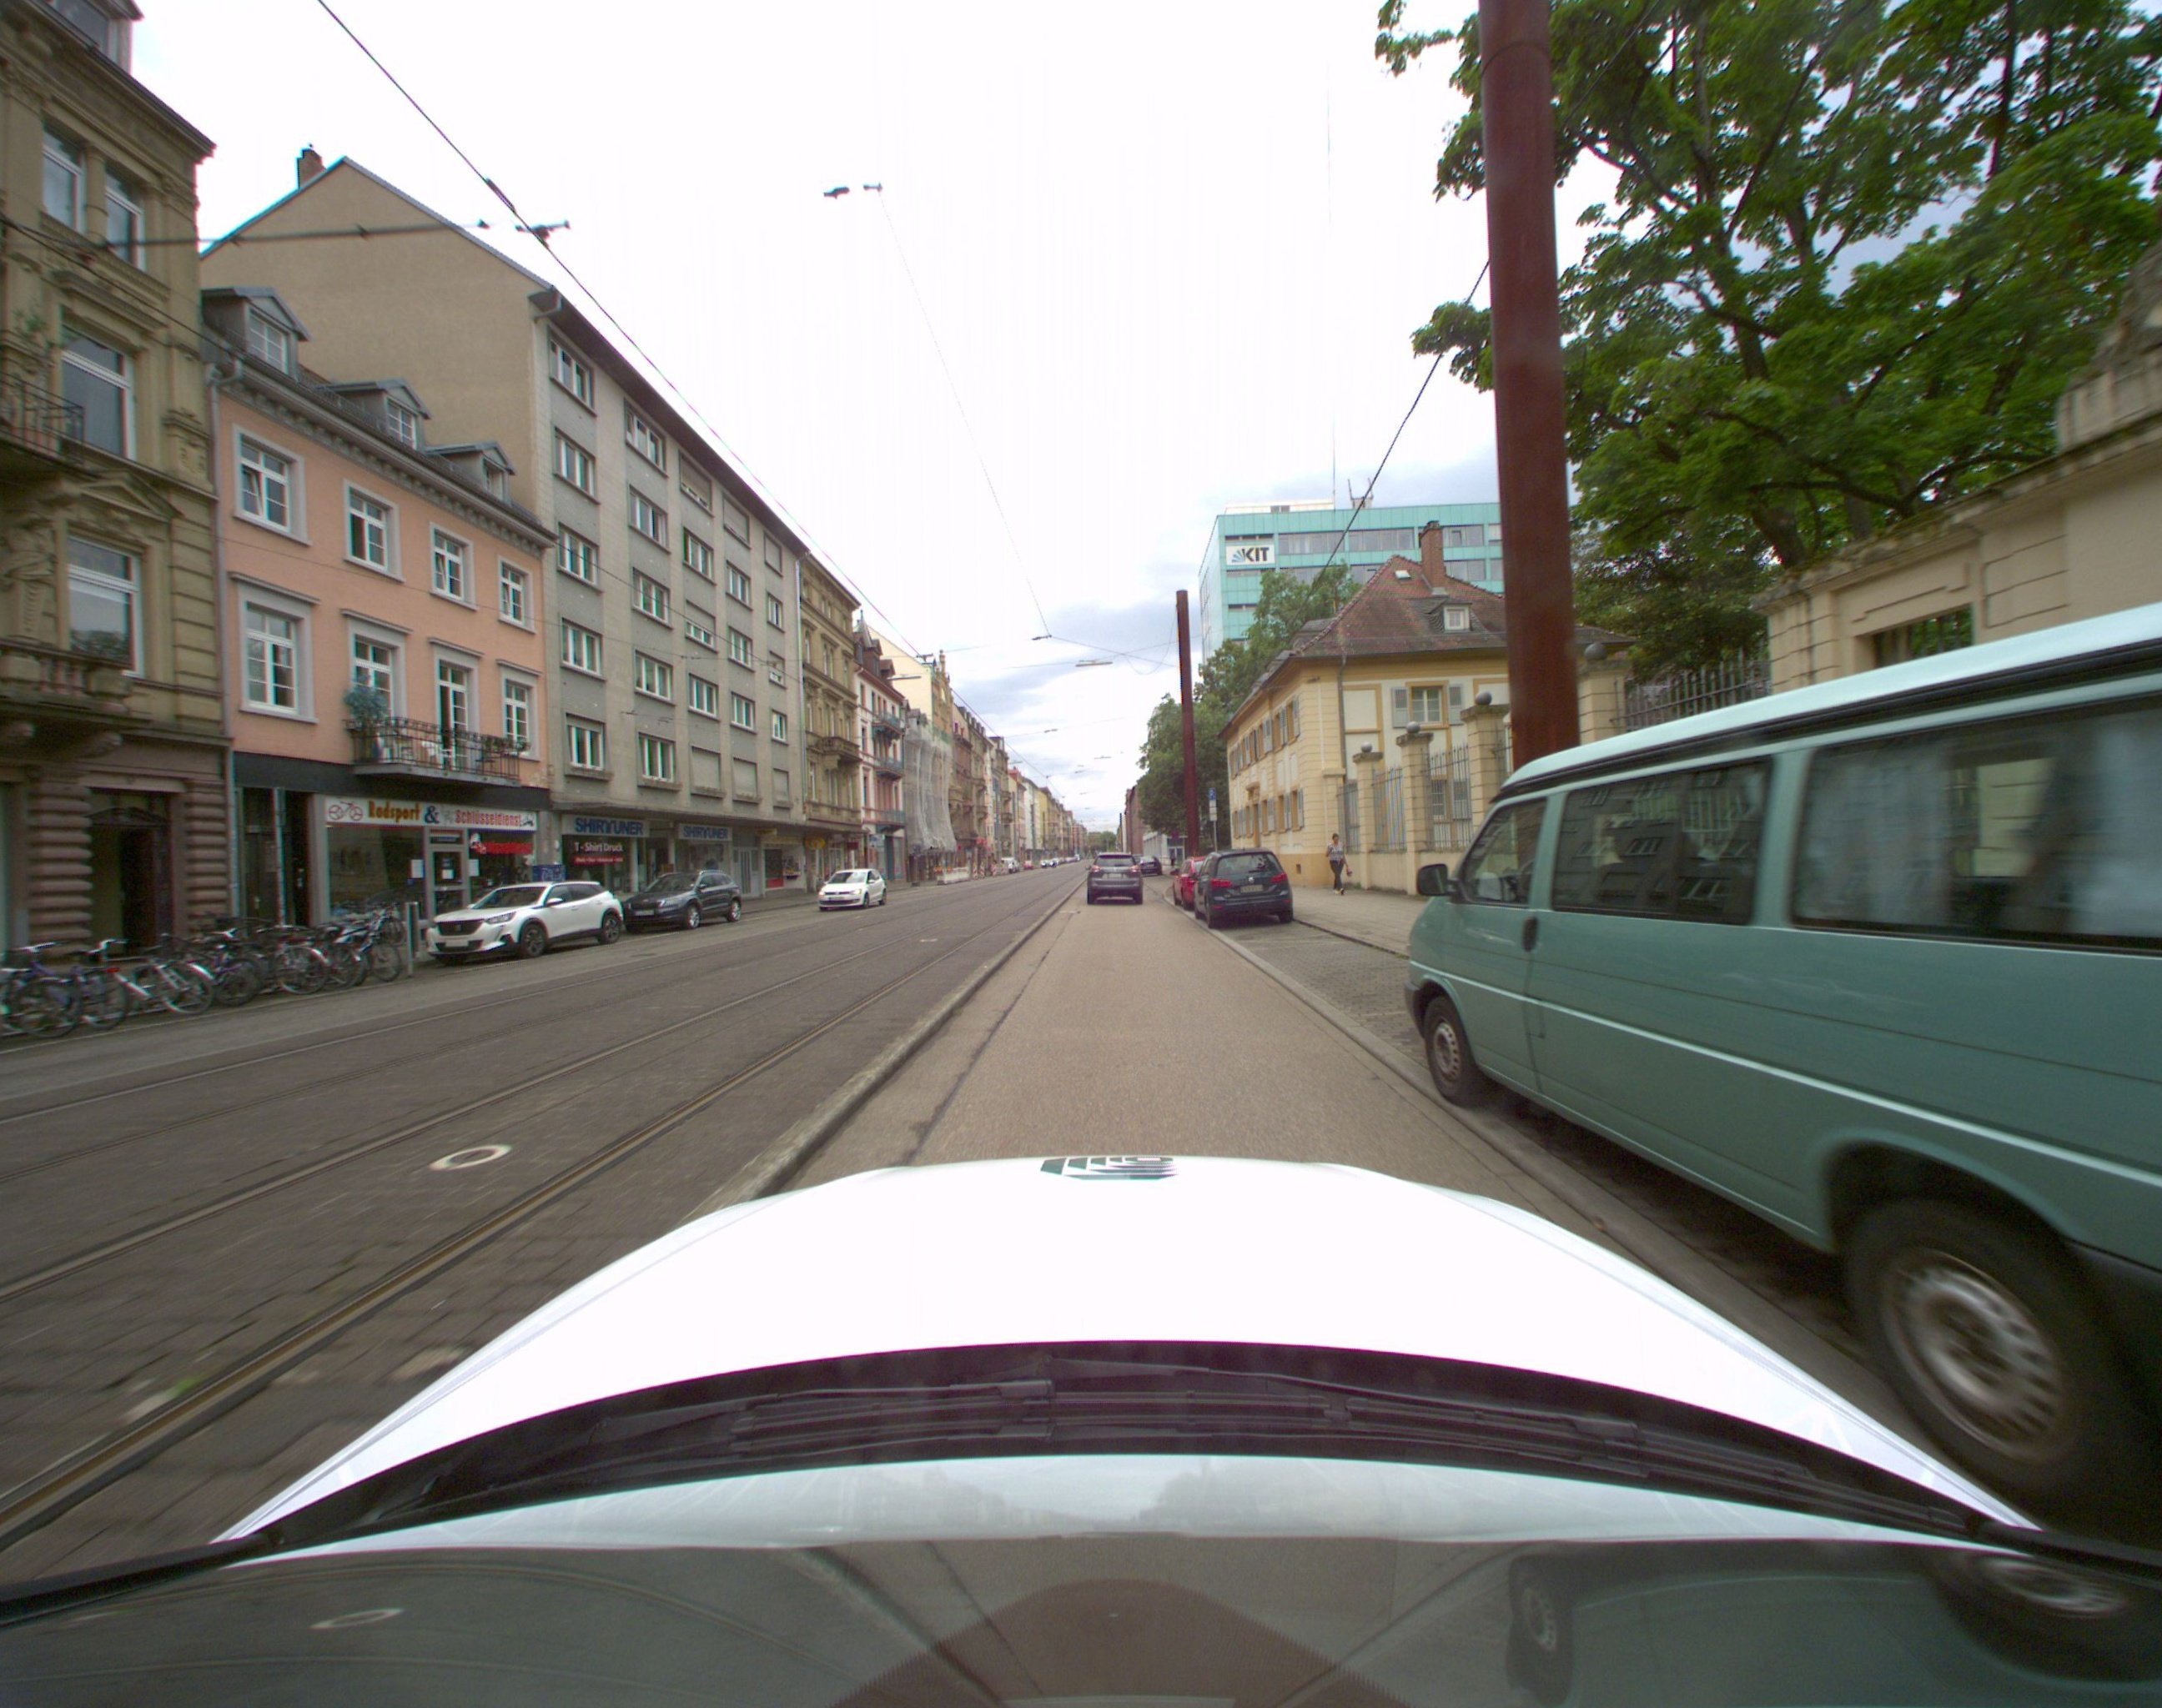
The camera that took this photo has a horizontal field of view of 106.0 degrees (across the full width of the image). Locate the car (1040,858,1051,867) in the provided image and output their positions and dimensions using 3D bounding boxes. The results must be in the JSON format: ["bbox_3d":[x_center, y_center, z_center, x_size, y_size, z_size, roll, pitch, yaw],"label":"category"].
[{"bbox_3d":[-6.725,1.665,153.706,1.988,1.635,3.997,-2,-1,-1],"label":"car"}]

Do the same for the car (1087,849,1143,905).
[{"bbox_3d":[1.119,0.727,27.516,1.743,1.756,3.925,0,0,2],"label":"car"}]

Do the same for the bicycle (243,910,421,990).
[{"bbox_3d":[-12.162,1.539,13.264,2.228,1.126,0.503,-2,0,-6],"label":"bicycle"}]

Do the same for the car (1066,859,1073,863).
[{"bbox_3d":[-3.579,2.140,249.944,1.986,1.266,4.001,-2,-1,2],"label":"car"}]

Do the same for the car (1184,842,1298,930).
[{"bbox_3d":[3.391,0.636,17.984,1.743,1.596,3.925,-5,0,2],"label":"car"}]

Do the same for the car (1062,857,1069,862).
[{"bbox_3d":[-4.207,1.616,221.973,1.988,1.266,3.997,-2,-1,-1],"label":"car"}]

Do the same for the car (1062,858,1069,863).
[{"bbox_3d":[-4.322,1.698,226.357,1.988,1.266,3.997,-2,-1,-1],"label":"car"}]

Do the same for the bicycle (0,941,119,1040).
[{"bbox_3d":[-12.169,1.554,9.144,1.963,1.001,0.462,-2,0,-6],"label":"bicycle"}]

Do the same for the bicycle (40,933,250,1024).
[{"bbox_3d":[-12.085,1.594,10.550,1.963,1.001,0.462,-2,0,-6],"label":"bicycle"}]

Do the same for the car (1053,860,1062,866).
[{"bbox_3d":[-5.265,1.947,182.796,1.988,1.266,3.997,-2,-1,-1],"label":"car"}]

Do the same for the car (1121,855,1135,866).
[{"bbox_3d":[6.789,0.901,117.632,1.769,1.420,4.136,-2,0,2],"label":"car"}]

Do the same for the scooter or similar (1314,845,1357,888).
[{"bbox_3d":[7.815,0.382,25.070,0.744,1.250,1.920,-2,-1,2],"label":"scooter or similar"}]

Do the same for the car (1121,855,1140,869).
[{"bbox_3d":[5.183,0.810,85.144,1.769,1.420,4.136,-2,0,2],"label":"car"}]

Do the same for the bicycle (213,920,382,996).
[{"bbox_3d":[-12.028,1.584,12.540,1.963,1.001,0.462,-2,0,-6],"label":"bicycle"}]

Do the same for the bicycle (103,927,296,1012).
[{"bbox_3d":[-12.196,1.587,11.304,1.963,1.001,0.462,-2,0,-6],"label":"bicycle"}]

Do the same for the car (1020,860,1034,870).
[{"bbox_3d":[-8.152,1.630,123.335,1.988,1.464,3.997,-2,-1,-1],"label":"car"}]

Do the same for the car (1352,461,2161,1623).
[{"bbox_3d":[2.908,0.308,3.411,1.844,2.115,4.986,-5,0,2],"label":"car"}]

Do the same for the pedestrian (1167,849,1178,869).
[{"bbox_3d":[8.750,0.470,78.036,0.907,1.886,0.846,-2,-1,1],"label":"pedestrian"}]

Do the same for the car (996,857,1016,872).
[{"bbox_3d":[-9.011,1.302,97.875,1.988,1.706,3.997,-2,-1,-1],"label":"car"}]

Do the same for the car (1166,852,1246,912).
[{"bbox_3d":[3.540,0.758,23.717,1.743,1.441,3.925,-5,0,2],"label":"car"}]

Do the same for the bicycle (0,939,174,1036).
[{"bbox_3d":[-12.162,1.589,9.711,1.963,1.001,0.462,-2,0,-6],"label":"bicycle"}]

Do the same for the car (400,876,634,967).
[{"bbox_3d":[-11.687,1.314,17.327,1.769,1.504,4.403,-2,0,2],"label":"car"}]

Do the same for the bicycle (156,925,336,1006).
[{"bbox_3d":[-12.150,1.613,11.889,1.963,1.001,0.462,-2,0,-6],"label":"bicycle"}]

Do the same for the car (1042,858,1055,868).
[{"bbox_3d":[-5.242,1.461,131.838,1.988,1.635,3.997,-2,-1,-1],"label":"car"}]

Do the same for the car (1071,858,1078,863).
[{"bbox_3d":[-2.006,1.935,242.625,1.986,1.266,4.001,-2,-1,2],"label":"car"}]

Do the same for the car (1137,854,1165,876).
[{"bbox_3d":[5.065,0.771,59.238,1.769,1.420,4.136,-2,0,2],"label":"car"}]

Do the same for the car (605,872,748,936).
[{"bbox_3d":[-11.487,1.367,23.516,1.769,1.504,4.403,-2,0,2],"label":"car"}]

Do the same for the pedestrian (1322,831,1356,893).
[{"bbox_3d":[7.250,0.213,22.926,0.639,1.688,0.891,-2,0,1],"label":"pedestrian"}]

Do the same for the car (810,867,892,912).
[{"bbox_3d":[-8.368,1.246,29.955,1.681,1.420,4.136,-2,0,2],"label":"car"}]

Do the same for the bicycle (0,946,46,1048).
[{"bbox_3d":[-12.102,1.530,8.423,1.963,1.001,0.462,-2,0,-6],"label":"bicycle"}]
